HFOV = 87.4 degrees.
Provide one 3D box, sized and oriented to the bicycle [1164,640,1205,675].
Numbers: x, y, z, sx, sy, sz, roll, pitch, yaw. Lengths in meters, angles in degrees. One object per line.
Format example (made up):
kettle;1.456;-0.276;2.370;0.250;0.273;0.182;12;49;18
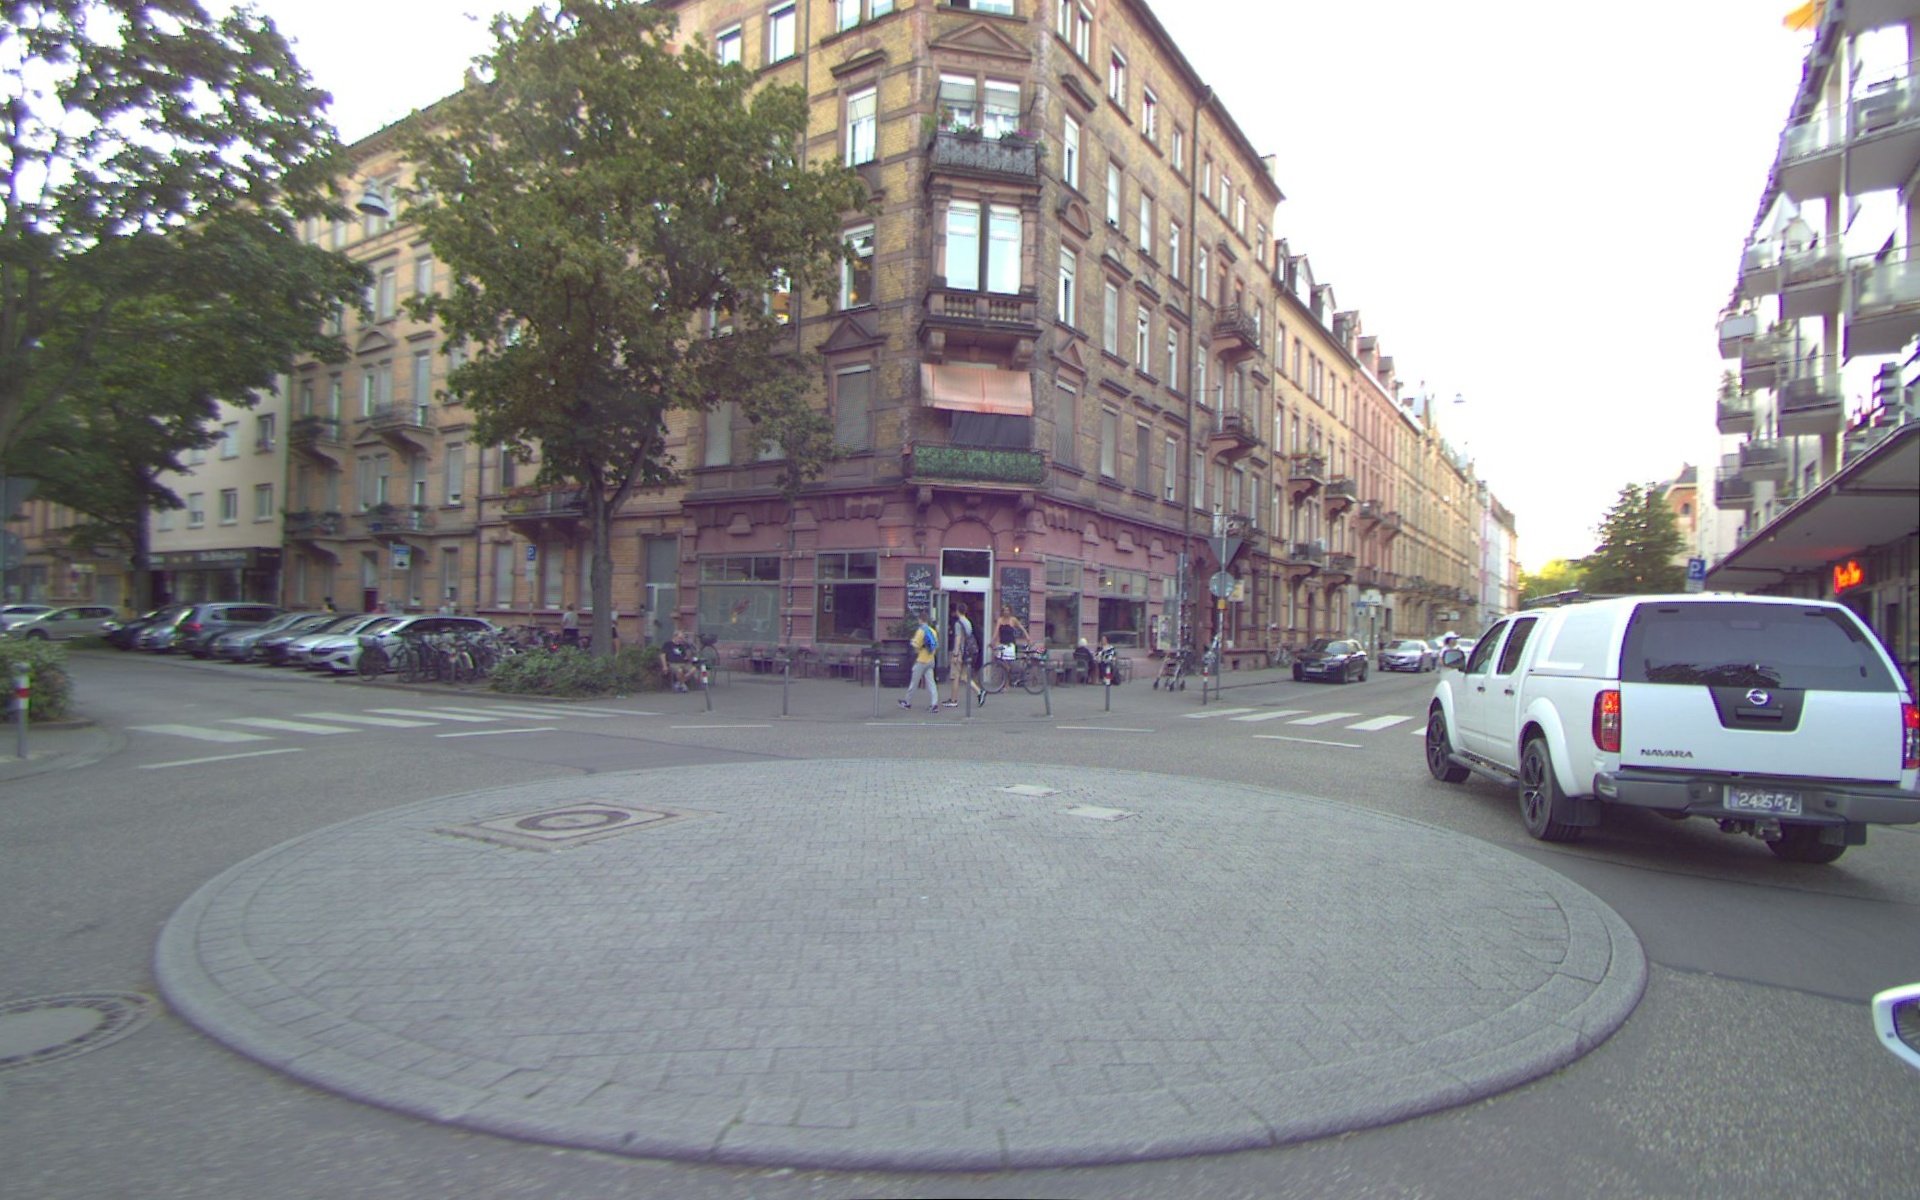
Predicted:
bicycle;7.198;1.829;32.145;0.382;1.050;2.476;2;-1;34

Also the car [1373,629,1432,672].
car;19.928;2.252;45.161;1.809;1.773;4.153;2;-1;32

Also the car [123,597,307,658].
car;-24.756;0.955;33.535;1.965;1.822;4.487;2;-1;32

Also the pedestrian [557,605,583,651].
pedestrian;-11.140;0.795;28.674;0.569;1.279;0.452;3;-1;-32

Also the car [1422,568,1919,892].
car;5.401;0.831;8.357;1.905;1.834;5.004;1;-2;14

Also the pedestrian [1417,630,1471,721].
pedestrian;9.261;1.421;19.214;0.786;1.642;0.943;2;-1;31

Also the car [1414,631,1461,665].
car;26.155;2.642;54.950;1.809;1.700;4.028;2;-1;32

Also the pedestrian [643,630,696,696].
pedestrian;-5.942;1.284;20.562;0.743;1.279;0.666;2;-1;33

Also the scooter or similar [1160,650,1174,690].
scooter or similar;5.189;1.740;25.192;0.229;0.941;1.267;3;-1;8

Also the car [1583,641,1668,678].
car;37.669;3.350;56.950;3.931;1.773;1.836;2;-1;33

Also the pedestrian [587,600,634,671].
pedestrian;-8.927;0.904;25.659;0.906;1.747;0.666;2;-1;33

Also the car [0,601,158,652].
car;-34.895;1.076;39.730;1.965;1.822;4.487;2;-1;32

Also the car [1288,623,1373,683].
car;12.351;1.751;33.374;1.809;1.773;3.991;2;-1;32

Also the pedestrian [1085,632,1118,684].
pedestrian;3.678;1.496;26.081;0.639;1.302;0.539;2;-1;30

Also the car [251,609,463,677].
car;-16.218;1.157;27.242;1.965;1.599;4.487;2;-1;32

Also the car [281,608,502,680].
car;-14.419;1.122;25.730;1.965;1.599;4.487;2;-1;32

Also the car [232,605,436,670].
car;-17.771;1.086;28.738;1.965;1.641;4.487;2;-1;32

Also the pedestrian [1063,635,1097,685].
pedestrian;3.012;1.492;25.103;0.639;1.206;0.539;2;-1;30

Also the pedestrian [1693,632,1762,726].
pedestrian;14.382;1.469;18.840;0.689;1.685;0.722;3;-1;-4

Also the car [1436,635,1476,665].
car;31.462;3.165;63.679;1.809;1.773;3.991;2;-1;32

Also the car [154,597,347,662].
car;-22.093;0.956;31.478;1.965;1.822;4.487;2;-1;32

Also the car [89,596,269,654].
car;-27.084;0.914;34.997;1.965;1.822;4.487;2;-1;32

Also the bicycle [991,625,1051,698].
bicycle;1.306;1.281;21.176;0.417;1.461;1.902;2;-1;29

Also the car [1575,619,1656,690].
car;20.215;1.659;31.073;1.915;1.959;3.991;2;-1;32

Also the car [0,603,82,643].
car;-41.188;0.986;43.390;1.965;1.636;4.487;2;-1;32

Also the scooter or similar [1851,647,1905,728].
scooter or similar;15.697;1.473;17.200;0.434;1.307;1.662;2;-1;35

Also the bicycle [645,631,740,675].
bicycle;-7.055;1.365;26.361;2.856;0.971;0.624;2;-1;33

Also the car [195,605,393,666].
car;-19.839;1.075;30.130;1.965;1.599;4.487;2;-1;32

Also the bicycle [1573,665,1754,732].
bicycle;11.842;1.646;17.022;2.425;1.052;0.616;-2;-3;29

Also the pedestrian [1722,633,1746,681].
pedestrian;30.339;2.227;39.366;0.481;1.835;0.629;3;-1;-44

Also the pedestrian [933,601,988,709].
pedestrian;0.015;1.009;18.537;0.888;1.910;0.616;3;-1;3

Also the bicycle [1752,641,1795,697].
bicycle;22.184;1.860;27.418;0.547;1.426;2.091;2;-1;31

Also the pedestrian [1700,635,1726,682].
pedestrian;30.136;2.346;40.194;0.782;1.835;0.621;3;-1;-38

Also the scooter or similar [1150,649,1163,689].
scooter or similar;4.933;1.727;25.226;0.229;0.941;1.267;3;-1;8

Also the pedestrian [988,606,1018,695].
pedestrian;0.924;1.071;21.516;0.495;1.864;0.573;3;-1;11

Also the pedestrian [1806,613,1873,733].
pedestrian;14.794;1.208;16.913;0.710;1.931;0.701;2;-1;34

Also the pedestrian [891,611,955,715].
pedestrian;-0.659;1.095;17.819;0.893;1.759;0.613;2;-1;41
